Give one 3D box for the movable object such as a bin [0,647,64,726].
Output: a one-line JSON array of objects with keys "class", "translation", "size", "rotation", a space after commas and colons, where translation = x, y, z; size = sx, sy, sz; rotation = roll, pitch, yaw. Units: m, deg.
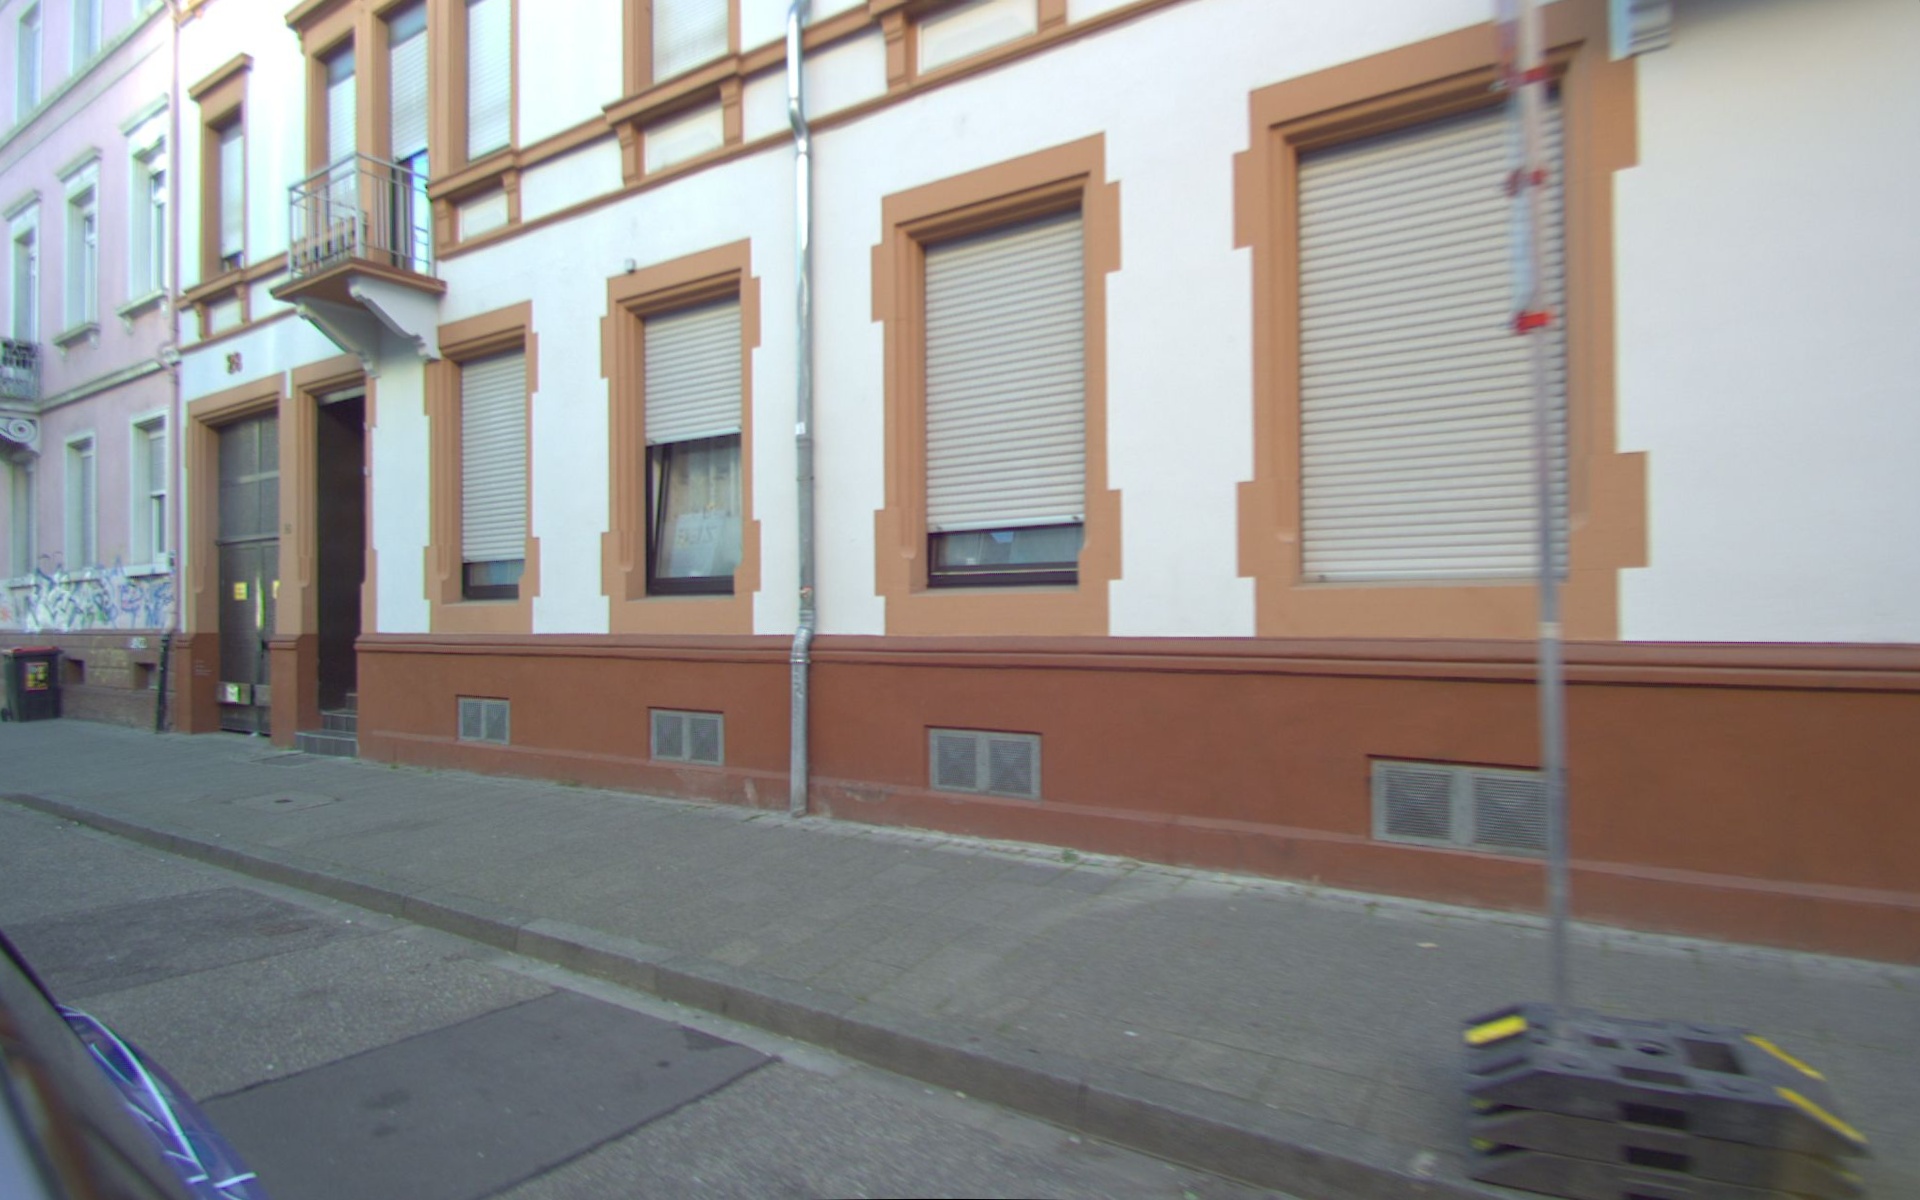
[{"class": "movable object such as a bin", "translation": [-13.103, 1.199, 14.230], "size": [0.594, 1.043, 0.601], "rotation": [-1, 0, 31]}]
